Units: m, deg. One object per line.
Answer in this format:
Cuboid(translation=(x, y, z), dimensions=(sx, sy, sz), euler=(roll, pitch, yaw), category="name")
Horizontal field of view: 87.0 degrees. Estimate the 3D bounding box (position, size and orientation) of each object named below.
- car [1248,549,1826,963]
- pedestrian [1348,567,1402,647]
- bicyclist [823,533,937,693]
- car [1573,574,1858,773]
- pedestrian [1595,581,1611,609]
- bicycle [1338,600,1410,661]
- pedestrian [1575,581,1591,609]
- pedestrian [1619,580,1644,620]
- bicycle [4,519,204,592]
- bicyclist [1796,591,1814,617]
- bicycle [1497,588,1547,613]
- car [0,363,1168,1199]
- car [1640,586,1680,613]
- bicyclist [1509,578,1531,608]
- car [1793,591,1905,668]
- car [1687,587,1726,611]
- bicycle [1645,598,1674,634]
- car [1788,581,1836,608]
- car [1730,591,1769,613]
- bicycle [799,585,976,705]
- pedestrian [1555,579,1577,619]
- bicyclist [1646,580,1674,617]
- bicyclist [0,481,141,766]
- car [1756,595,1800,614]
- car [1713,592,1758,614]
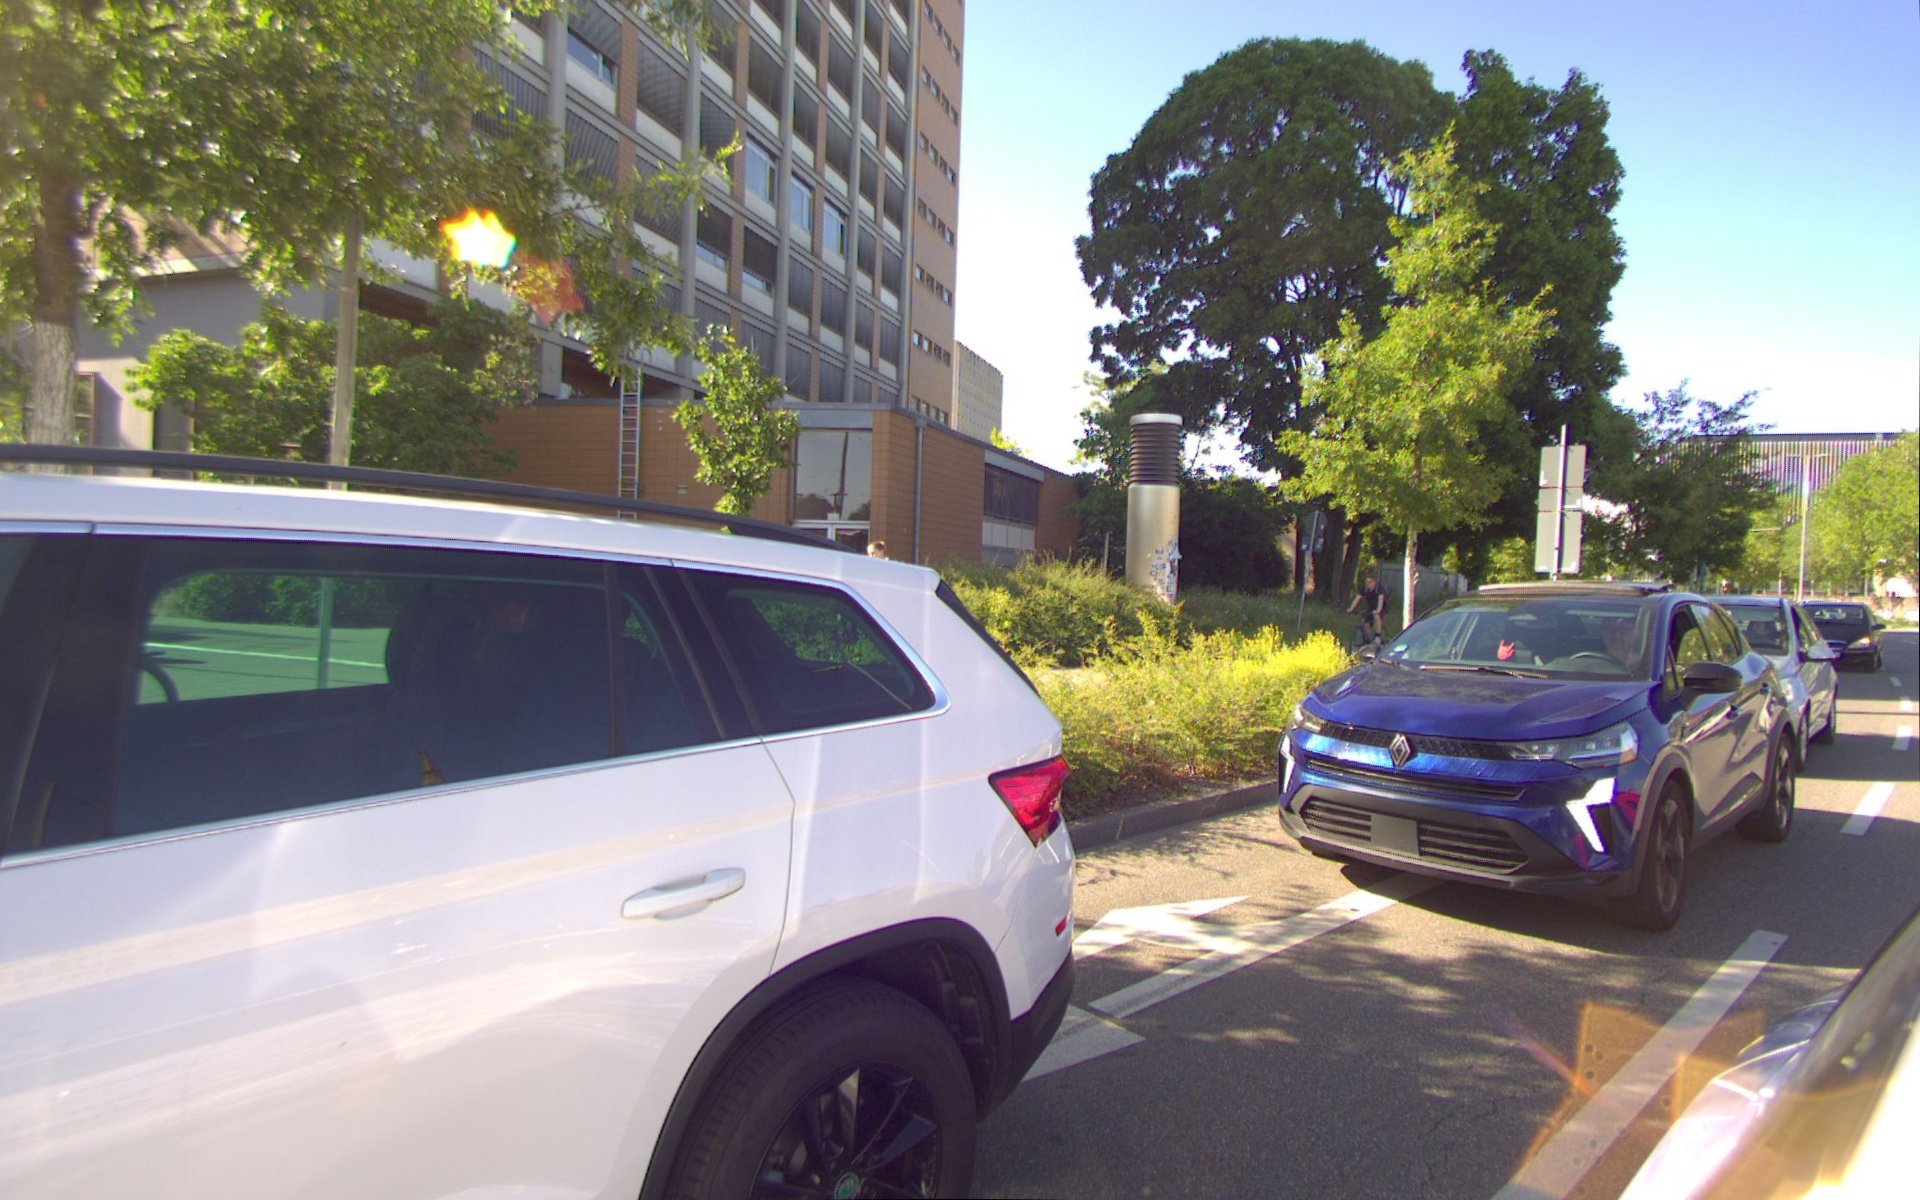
Cuboid(translation=(3.579, 0.605, 5.942), dimensions=(4.012, 1.626, 1.704), euler=(0, 1, -41), category="car")
Cuboid(translation=(7.692, 0.117, 18.744), dimensions=(0.945, 1.419, 0.517), euler=(0, 3, -43), category="pedestrian")
Cuboid(translation=(-0.853, 0.126, 10.808), dimensions=(0.960, 1.618, 0.686), euler=(1, 1, -41), category="bicyclist")
Cuboid(translation=(7.977, 0.608, 10.544), dimensions=(3.977, 1.645, 1.782), euler=(0, 2, -45), category="car")
Cuboid(translation=(45.091, -0.365, 70.998), dimensions=(0.811, 1.941, 0.767), euler=(0, 0, 20), category="pedestrian")
Cuboid(translation=(7.687, 0.540, 18.750), dimensions=(1.738, 1.057, 0.517), euler=(0, 4, -43), category="bicycle")
Cuboid(translation=(44.057, -0.371, 71.581), dimensions=(0.811, 1.941, 0.767), euler=(0, 0, 20), category="pedestrian")
Cuboid(translation=(27.616, -0.004, 41.644), dimensions=(0.685, 1.624, 0.656), euler=(2, 1, 23), category="pedestrian")
Cuboid(translation=(-17.606, -0.887, 20.965), dimensions=(0.790, 1.394, 3.111), euler=(2, 1, 26), category="bicycle")
Cuboid(translation=(52.143, 0.232, 62.461), dimensions=(0.688, 1.578, 0.809), euler=(0, 0, 25), category="bicyclist")
Cuboid(translation=(28.638, 0.029, 51.575), dimensions=(2.099, 1.189, 0.760), euler=(1, 1, 21), category="bicycle")
Cuboid(translation=(-1.650, 0.558, 1.612), dimensions=(4.223, 1.662, 1.697), euler=(0, 1, -42), category="car")
Cuboid(translation=(51.242, -0.048, 74.141), dimensions=(1.811, 1.876, 3.717), euler=(2, 1, 27), category="car")
Cuboid(translation=(28.583, -0.352, 51.641), dimensions=(0.837, 1.492, 0.760), euler=(2, 1, 20), category="bicyclist")
Cuboid(translation=(21.101, 0.645, 23.990), dimensions=(3.431, 1.631, 1.649), euler=(0, 2, -43), category="car")
Cuboid(translation=(65.866, -0.155, 89.323), dimensions=(1.767, 2.039, 4.201), euler=(1, 1, 22), category="car")
Cuboid(translation=(25.856, 0.588, 37.414), dimensions=(0.687, 1.232, 1.814), euler=(4, 3, 31), category="bicycle")
Cuboid(translation=(56.047, -0.353, 66.661), dimensions=(1.509, 1.701, 3.353), euler=(1, 0, 24), category="car")
Cuboid(translation=(61.836, 0.133, 79.324), dimensions=(1.578, 1.625, 3.048), euler=(2, 1, 23), category="car")
Cuboid(translation=(-0.747, 0.446, 10.921), dimensions=(1.851, 1.178, 0.686), euler=(0, 1, -42), category="bicycle")
Cuboid(translation=(25.038, -0.043, 41.811), dimensions=(0.686, 1.624, 0.656), euler=(2, 1, 26), category="pedestrian")
Cuboid(translation=(25.707, -0.073, 37.160), dimensions=(0.717, 1.294, 0.897), euler=(4, 3, 32), category="bicyclist")
Cuboid(translation=(-5.688, 0.127, 6.194), dimensions=(0.979, 1.658, 0.626), euler=(1, 1, -45), category="bicyclist")
Cuboid(translation=(59.033, 0.311, 73.112), dimensions=(1.569, 1.220, 3.964), euler=(1, -2, 25), category="car")
Cuboid(translation=(52.280, 0.200, 68.271), dimensions=(1.736, 1.396, 3.540), euler=(1, 1, 27), category="car")
